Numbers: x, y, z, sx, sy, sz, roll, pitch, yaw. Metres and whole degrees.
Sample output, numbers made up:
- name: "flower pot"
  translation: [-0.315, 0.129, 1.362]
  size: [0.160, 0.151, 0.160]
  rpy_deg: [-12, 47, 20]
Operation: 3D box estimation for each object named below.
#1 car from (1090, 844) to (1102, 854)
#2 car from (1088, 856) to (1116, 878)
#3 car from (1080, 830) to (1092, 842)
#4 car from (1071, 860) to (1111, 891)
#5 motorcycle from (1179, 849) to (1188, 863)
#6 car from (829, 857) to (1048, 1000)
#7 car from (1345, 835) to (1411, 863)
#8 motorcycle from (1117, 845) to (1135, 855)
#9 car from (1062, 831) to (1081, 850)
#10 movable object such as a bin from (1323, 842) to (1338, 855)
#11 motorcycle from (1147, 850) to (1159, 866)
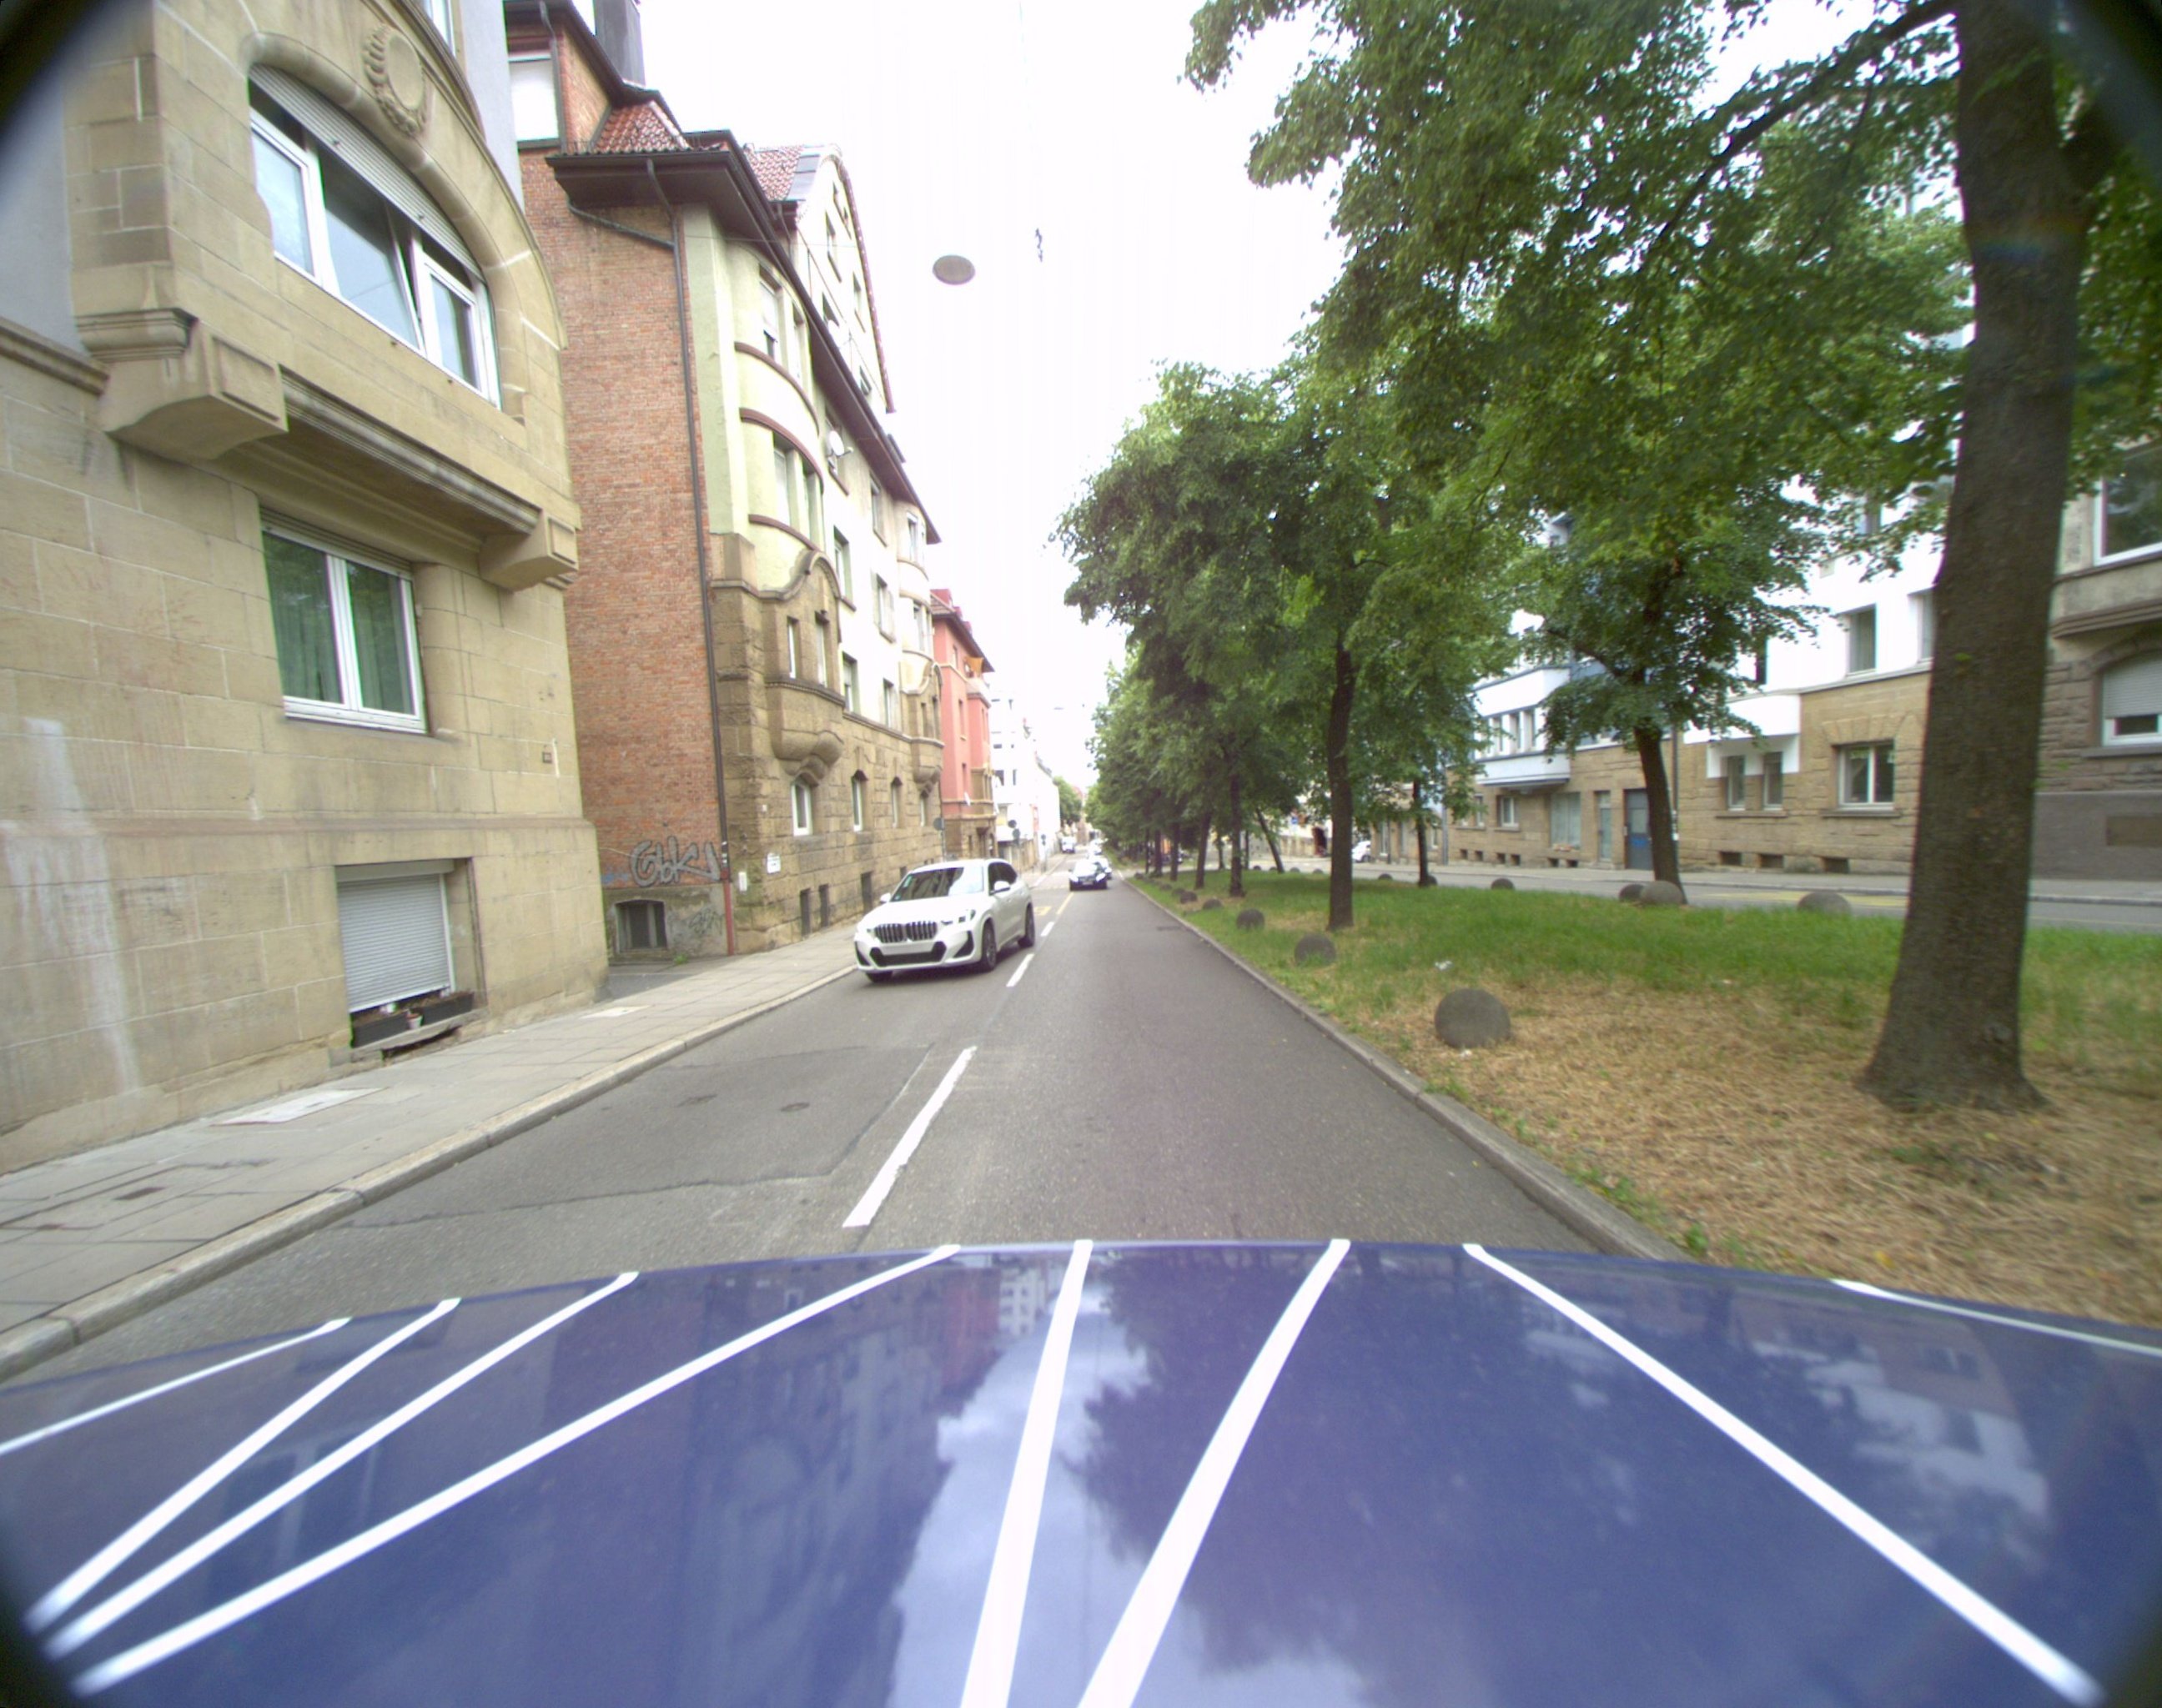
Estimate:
- name: "car"
  translation: [2.285, -0.804, 114.605]
  size: [1.783, 1.420, 4.281]
  rpy_deg: [-2, 0, 2]
- name: "car"
  translation: [1.445, 0.898, 53.146]
  size: [1.854, 1.360, 4.281]
  rpy_deg: [-3, 0, 1]
- name: "car"
  translation: [1.281, -4.888, 202.228]
  size: [3.026, 3.045, 7.165]
  rpy_deg: [-3, 2, 0]
- name: "car"
  translation: [0.514, 1.029, 38.594]
  size: [1.854, 1.360, 4.281]
  rpy_deg: [-3, 0, 1]
- name: "motorcycle"
  translation: [8.795, 0.182, 65.121]
  size: [0.750, 1.068, 1.851]
  rpy_deg: [-3, 3, 8]
- name: "car"
  translation: [-1.988, 0.999, 12.219]
  size: [1.853, 1.595, 4.565]
  rpy_deg: [-6, 1, 9]
- name: "car"
  translation: [21.697, -0.400, 55.617]
  size: [4.007, 1.462, 1.870]
  rpy_deg: [-7, 3, -1]
- name: "motorcycle"
  translation: [5.330, -0.483, 90.758]
  size: [2.041, 1.126, 0.454]
  rpy_deg: [-4, 4, 2]
- name: "car"
  translation: [-1.589, -2.352, 130.439]
  size: [3.026, 3.045, 7.165]
  rpy_deg: [-3, 2, 0]
- name: "movable object such as a bin"
  translation: [20.661, -0.429, 62.952]
  size: [0.888, 0.988, 0.668]
  rpy_deg: [-5, 2, 0]
- name: "motorcycle"
  translation: [6.161, 0.322, 65.048]
  size: [0.888, 1.090, 2.481]
  rpy_deg: [-3, 3, 8]
